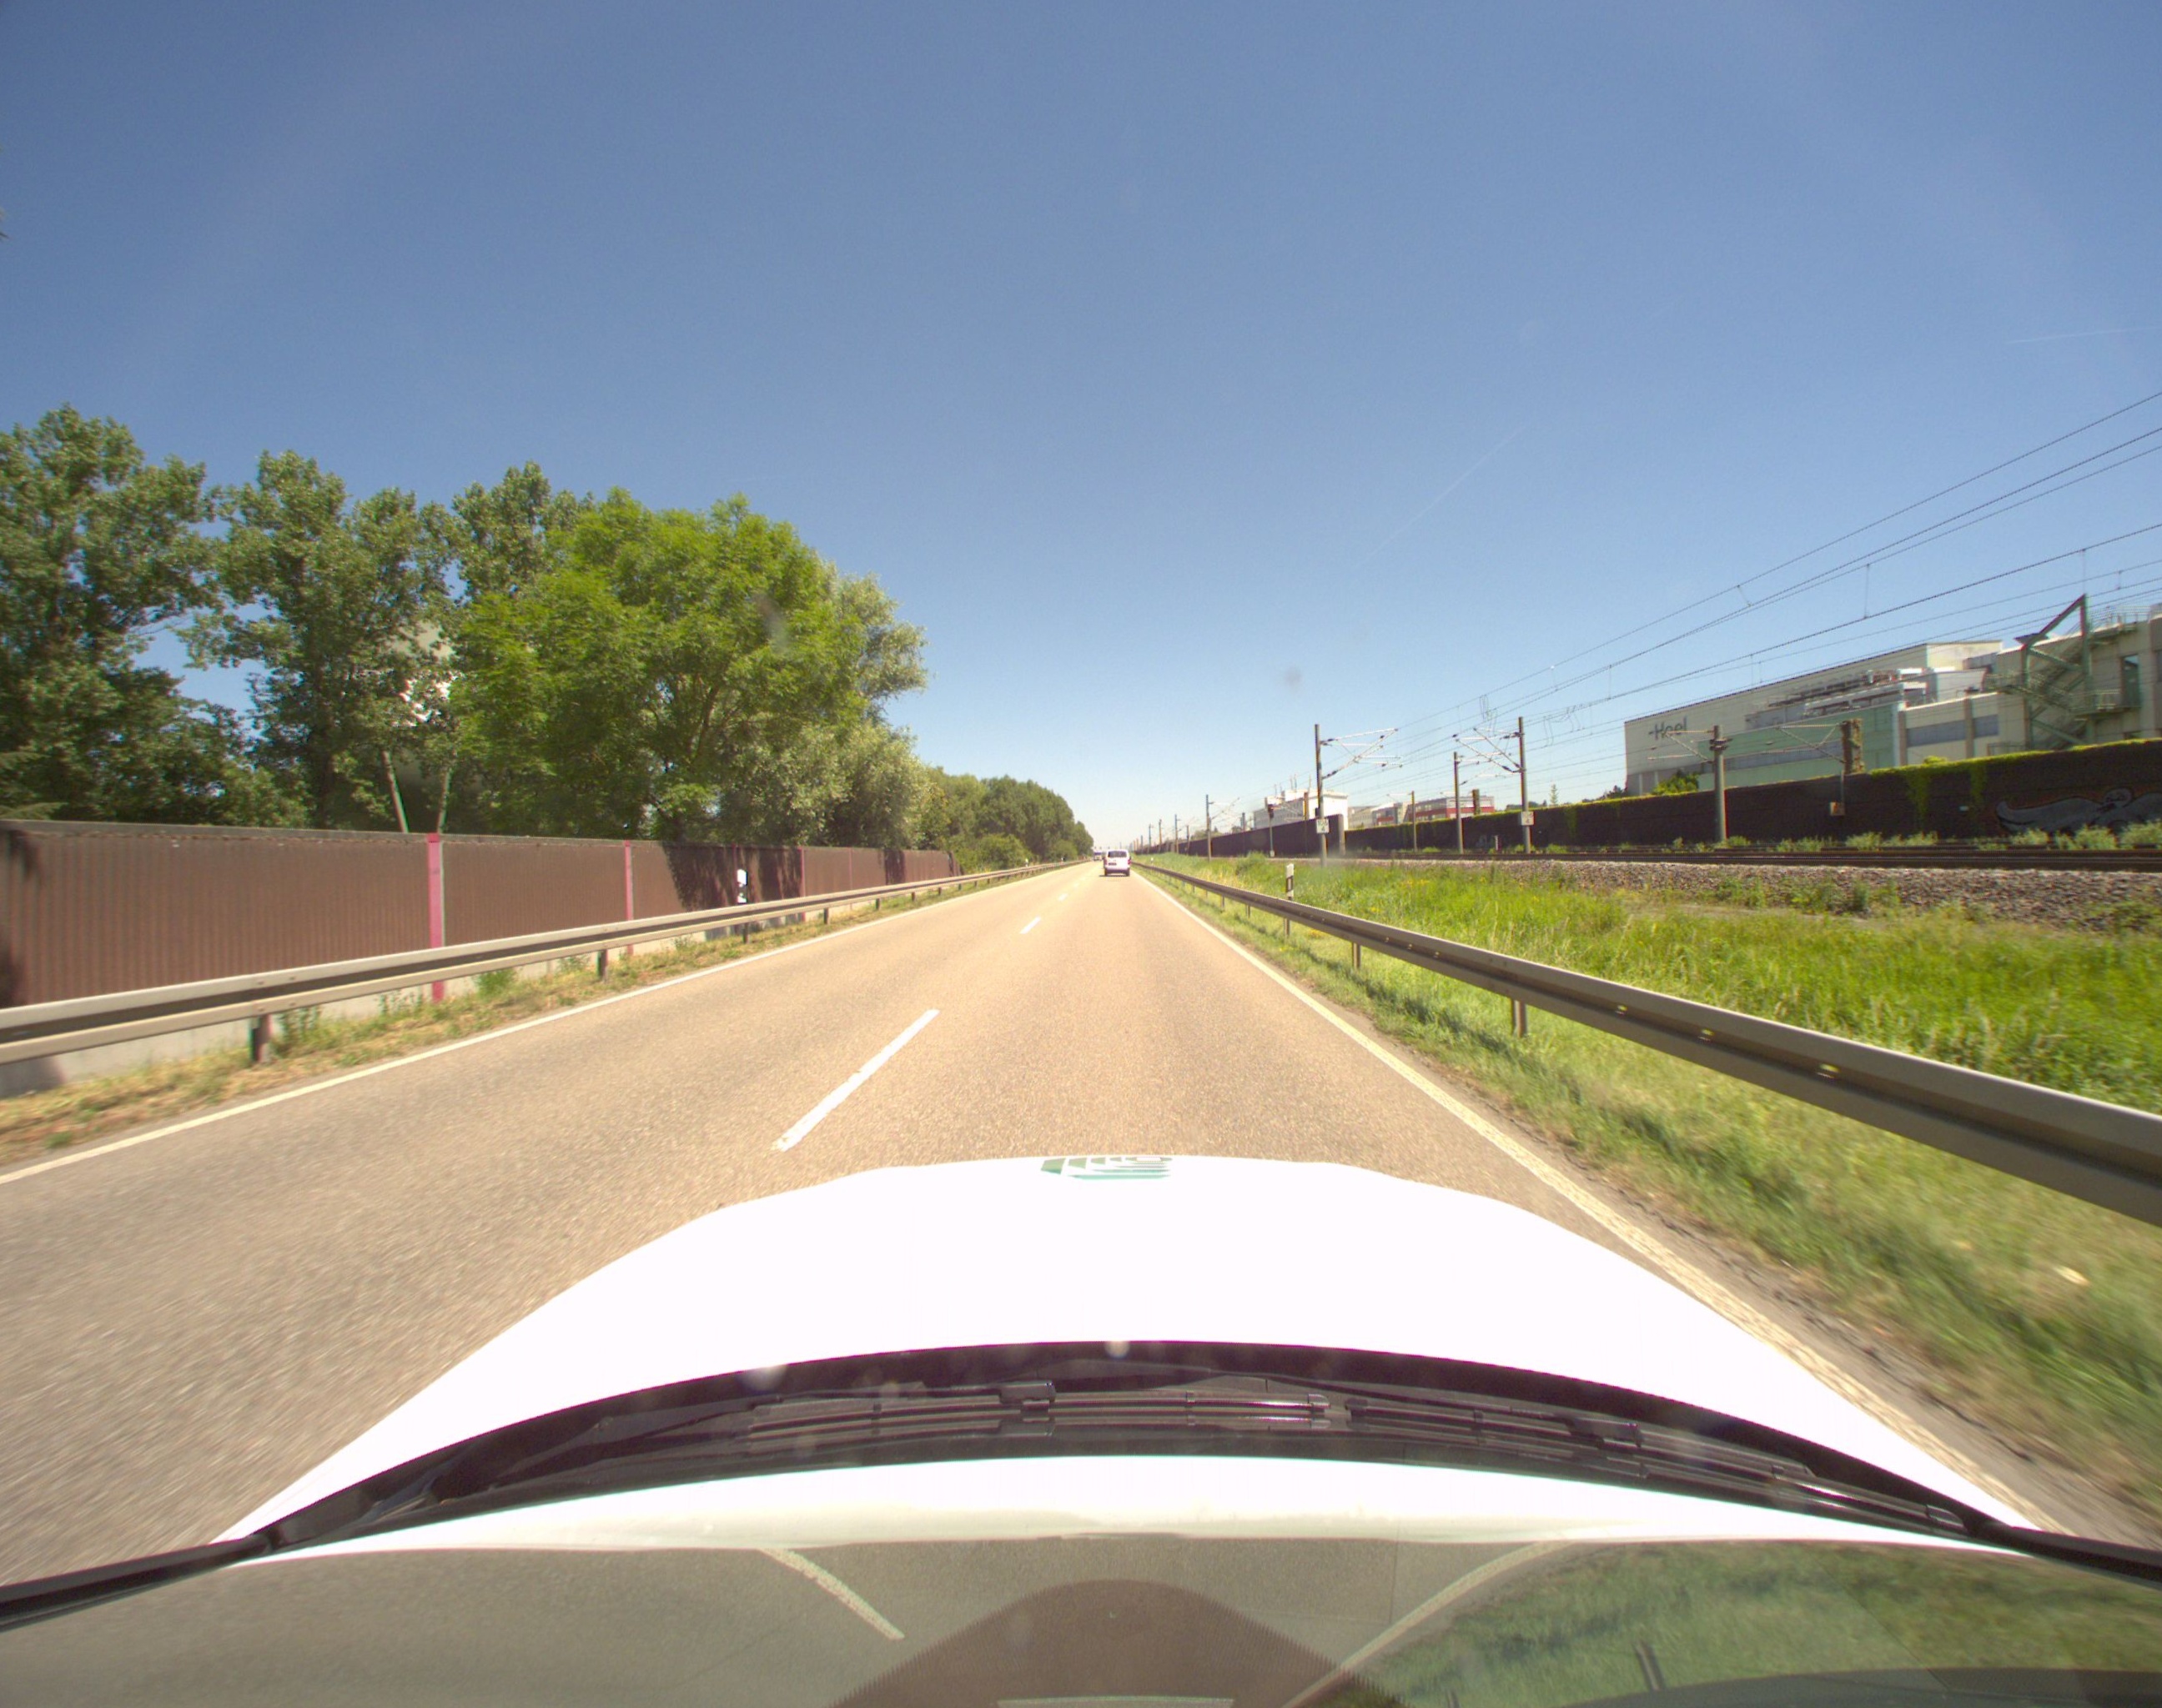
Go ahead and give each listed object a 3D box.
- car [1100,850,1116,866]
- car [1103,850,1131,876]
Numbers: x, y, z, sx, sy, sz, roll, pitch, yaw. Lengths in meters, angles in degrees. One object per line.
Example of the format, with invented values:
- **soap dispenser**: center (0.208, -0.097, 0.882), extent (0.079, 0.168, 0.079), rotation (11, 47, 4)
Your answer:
- **car**: center (3.343, 0.481, 99.953), extent (1.986, 1.850, 4.002), rotation (0, 0, 2)
- **car**: center (2.666, 0.627, 59.957), extent (1.986, 1.850, 4.002), rotation (0, 0, 2)
